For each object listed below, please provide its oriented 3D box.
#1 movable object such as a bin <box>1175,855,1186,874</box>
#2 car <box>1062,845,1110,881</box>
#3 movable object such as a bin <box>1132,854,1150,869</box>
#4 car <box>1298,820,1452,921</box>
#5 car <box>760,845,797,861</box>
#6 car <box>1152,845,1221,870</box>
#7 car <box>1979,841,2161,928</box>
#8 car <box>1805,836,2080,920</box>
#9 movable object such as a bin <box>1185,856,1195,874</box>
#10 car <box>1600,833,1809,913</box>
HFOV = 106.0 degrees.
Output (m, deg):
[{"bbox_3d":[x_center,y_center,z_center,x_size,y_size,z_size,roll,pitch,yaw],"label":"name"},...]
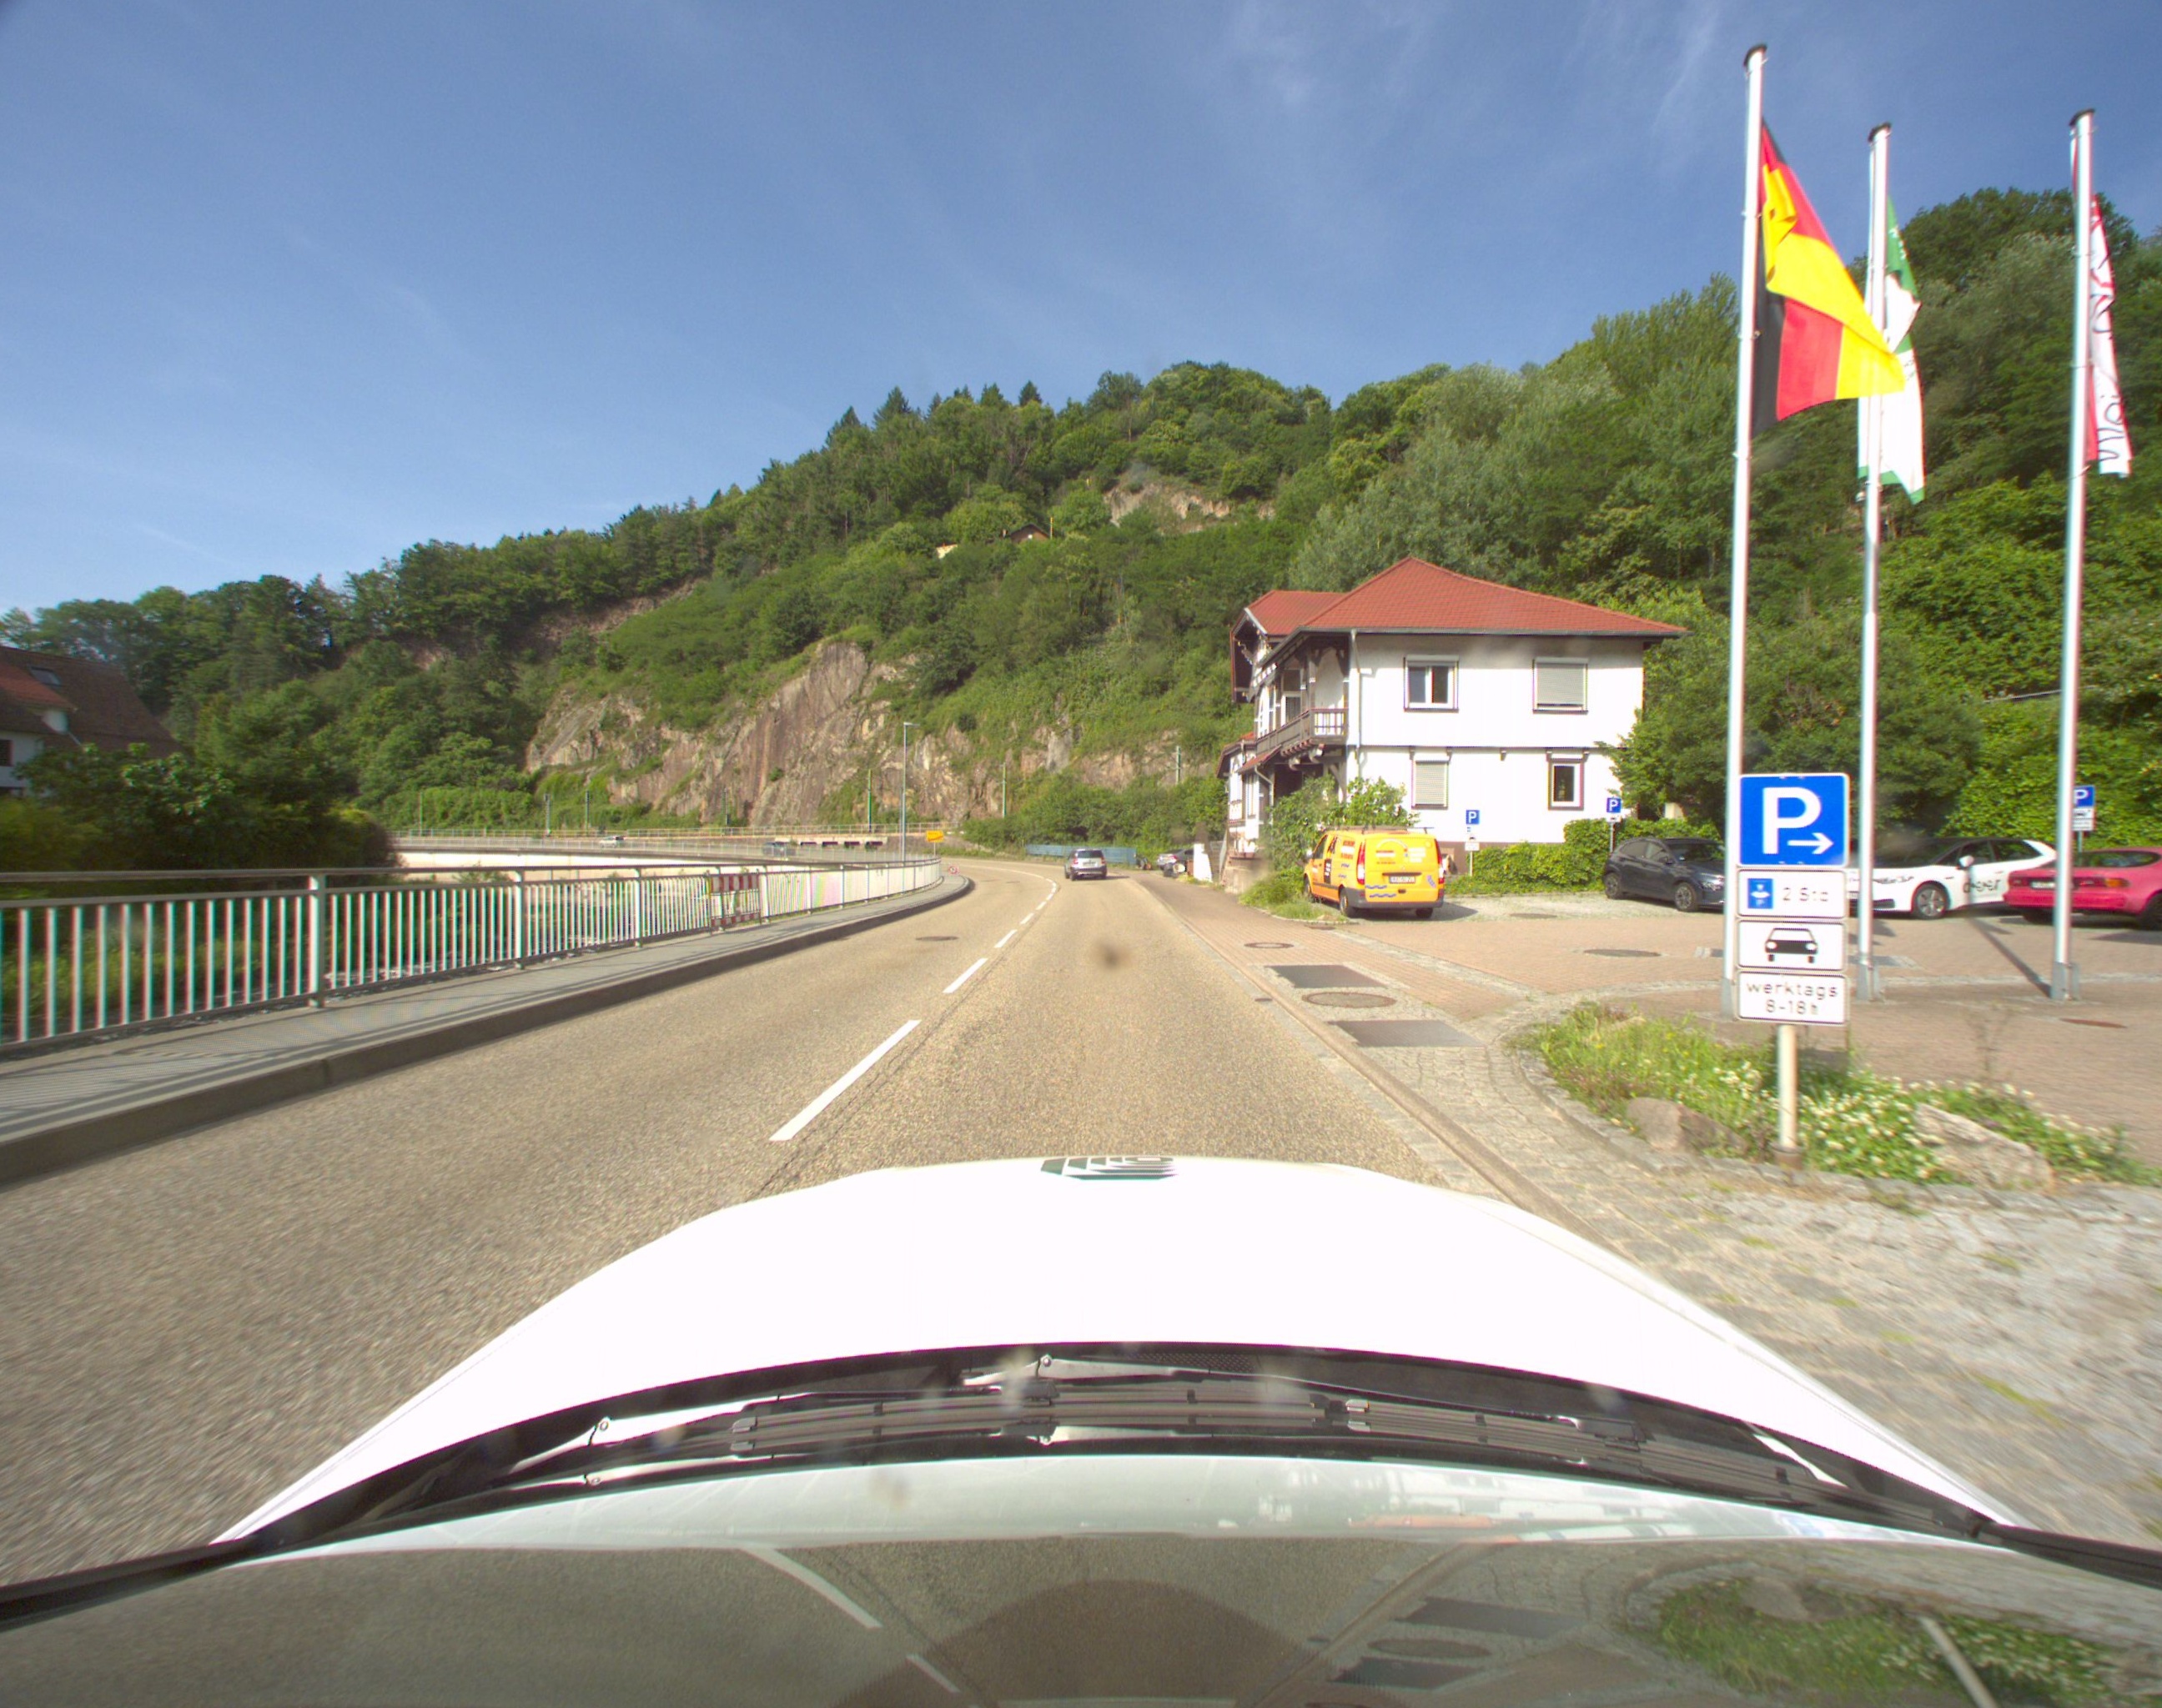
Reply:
[{"bbox_3d":[5.127,0.525,41.969,0.470,0.936,0.652,1,1,-3],"label":"movable object such as a bin"},{"bbox_3d":[0.195,0.417,41.913,1.871,1.655,3.989,-2,1,-8],"label":"car"},{"bbox_3d":[3.746,0.475,50.987,0.853,0.847,2.536,1,1,-3],"label":"movable object such as a bin"},{"bbox_3d":[6.509,0.308,18.656,1.901,1.997,4.837,-1,0,2],"label":"car"},{"bbox_3d":[-33.243,-0.110,89.494,3.948,1.643,1.833,0,0,33],"label":"car"},{"bbox_3d":[6.502,0.186,49.934,4.352,1.469,1.816,0,0,-41],"label":"car"},{"bbox_3d":[17.752,0.455,13.531,3.874,1.289,1.755,-1,0,-3],"label":"car"},{"bbox_3d":[16.792,0.439,15.977,3.881,1.451,1.816,-1,0,-9],"label":"car"},{"bbox_3d":[5.622,0.558,41.880,0.367,0.900,0.545,1,1,-9],"label":"movable object such as a bin"},{"bbox_3d":[13.916,0.381,18.524,1.744,1.579,4.161,-1,0,4],"label":"car"}]
